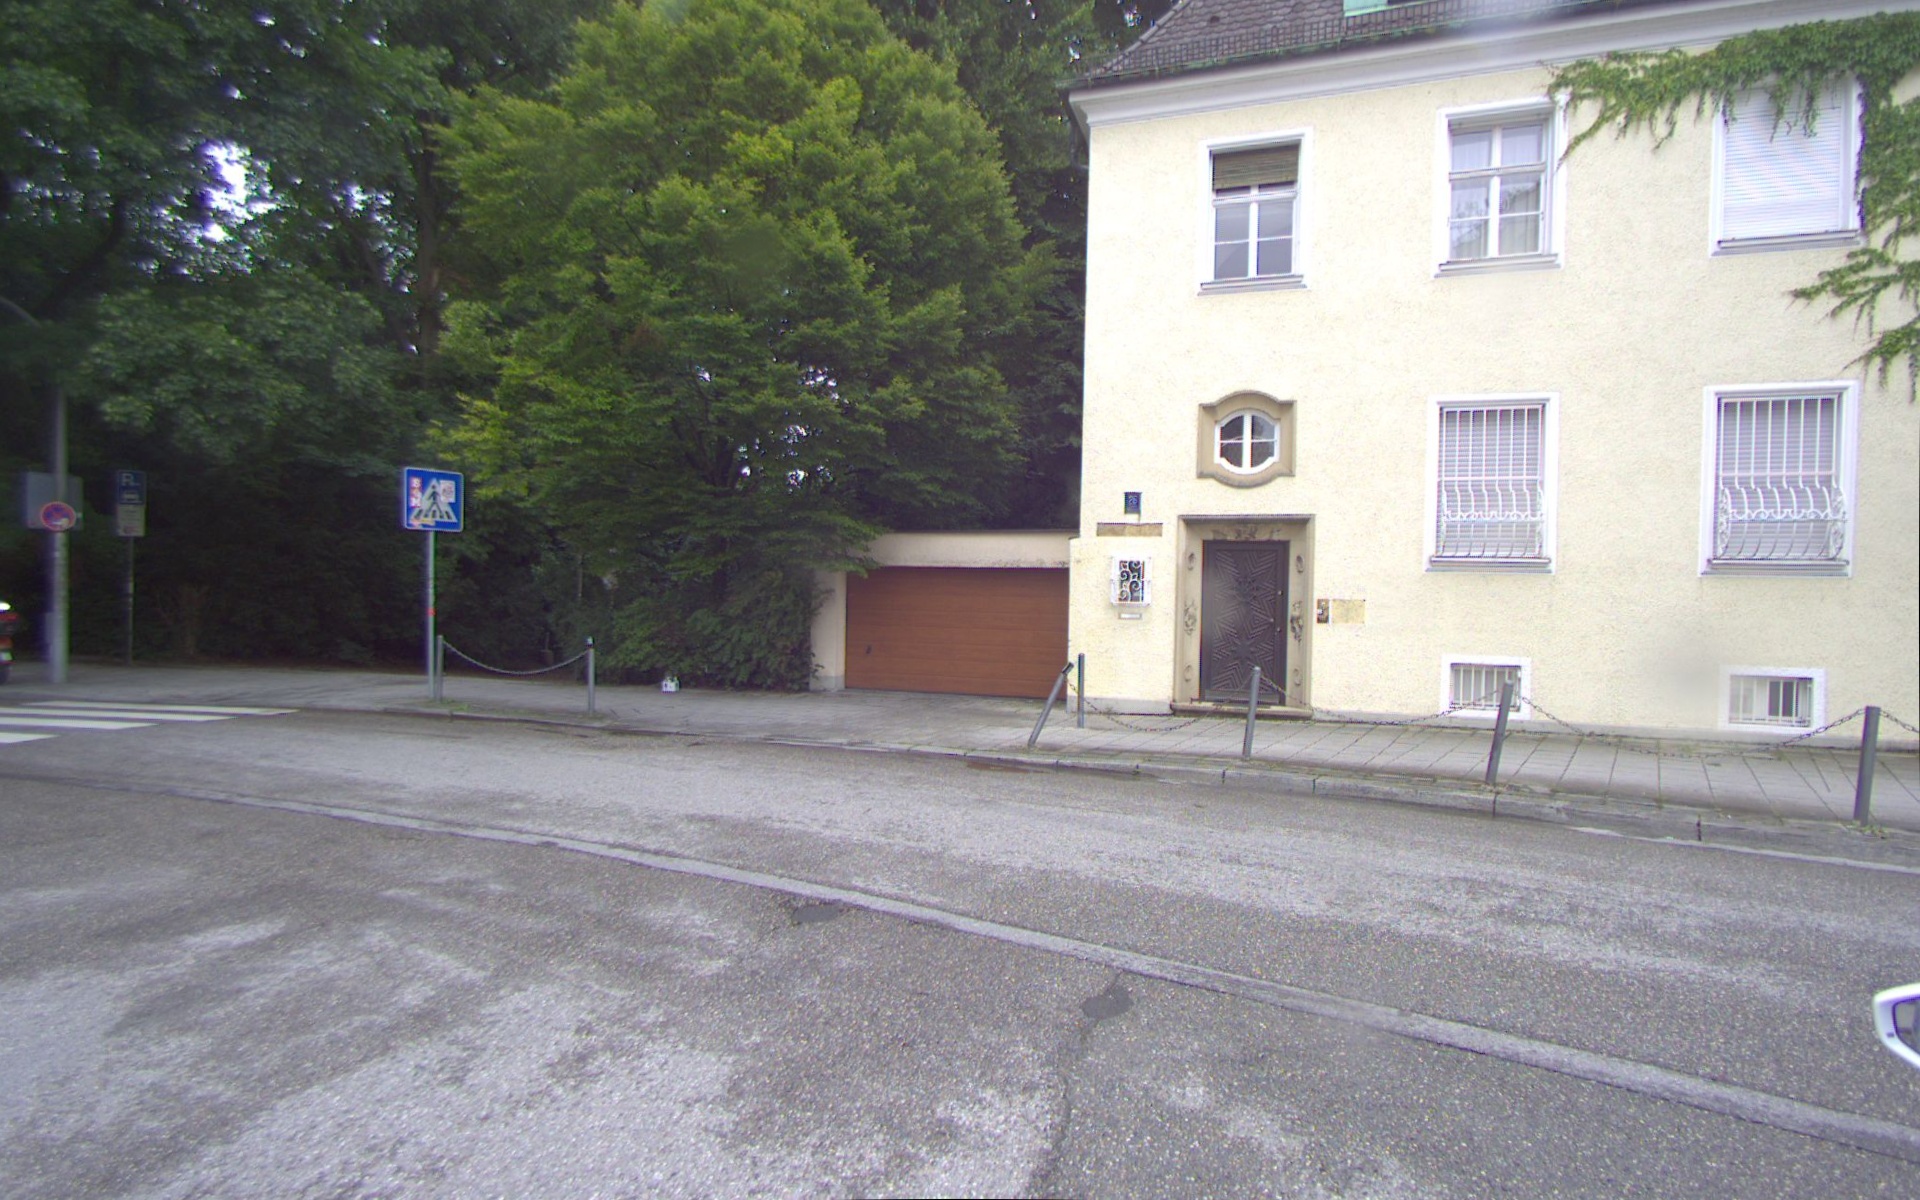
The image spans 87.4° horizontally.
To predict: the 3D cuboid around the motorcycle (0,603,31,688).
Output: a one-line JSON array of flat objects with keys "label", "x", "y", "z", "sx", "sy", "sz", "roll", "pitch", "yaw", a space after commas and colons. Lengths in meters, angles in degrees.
[{"label": "motorcycle", "x": -15.037, "y": 0.678, "z": 15.351, "sx": 1.973, "sy": 1.200, "sz": 0.856, "roll": 2, "pitch": 3, "yaw": 37}]
